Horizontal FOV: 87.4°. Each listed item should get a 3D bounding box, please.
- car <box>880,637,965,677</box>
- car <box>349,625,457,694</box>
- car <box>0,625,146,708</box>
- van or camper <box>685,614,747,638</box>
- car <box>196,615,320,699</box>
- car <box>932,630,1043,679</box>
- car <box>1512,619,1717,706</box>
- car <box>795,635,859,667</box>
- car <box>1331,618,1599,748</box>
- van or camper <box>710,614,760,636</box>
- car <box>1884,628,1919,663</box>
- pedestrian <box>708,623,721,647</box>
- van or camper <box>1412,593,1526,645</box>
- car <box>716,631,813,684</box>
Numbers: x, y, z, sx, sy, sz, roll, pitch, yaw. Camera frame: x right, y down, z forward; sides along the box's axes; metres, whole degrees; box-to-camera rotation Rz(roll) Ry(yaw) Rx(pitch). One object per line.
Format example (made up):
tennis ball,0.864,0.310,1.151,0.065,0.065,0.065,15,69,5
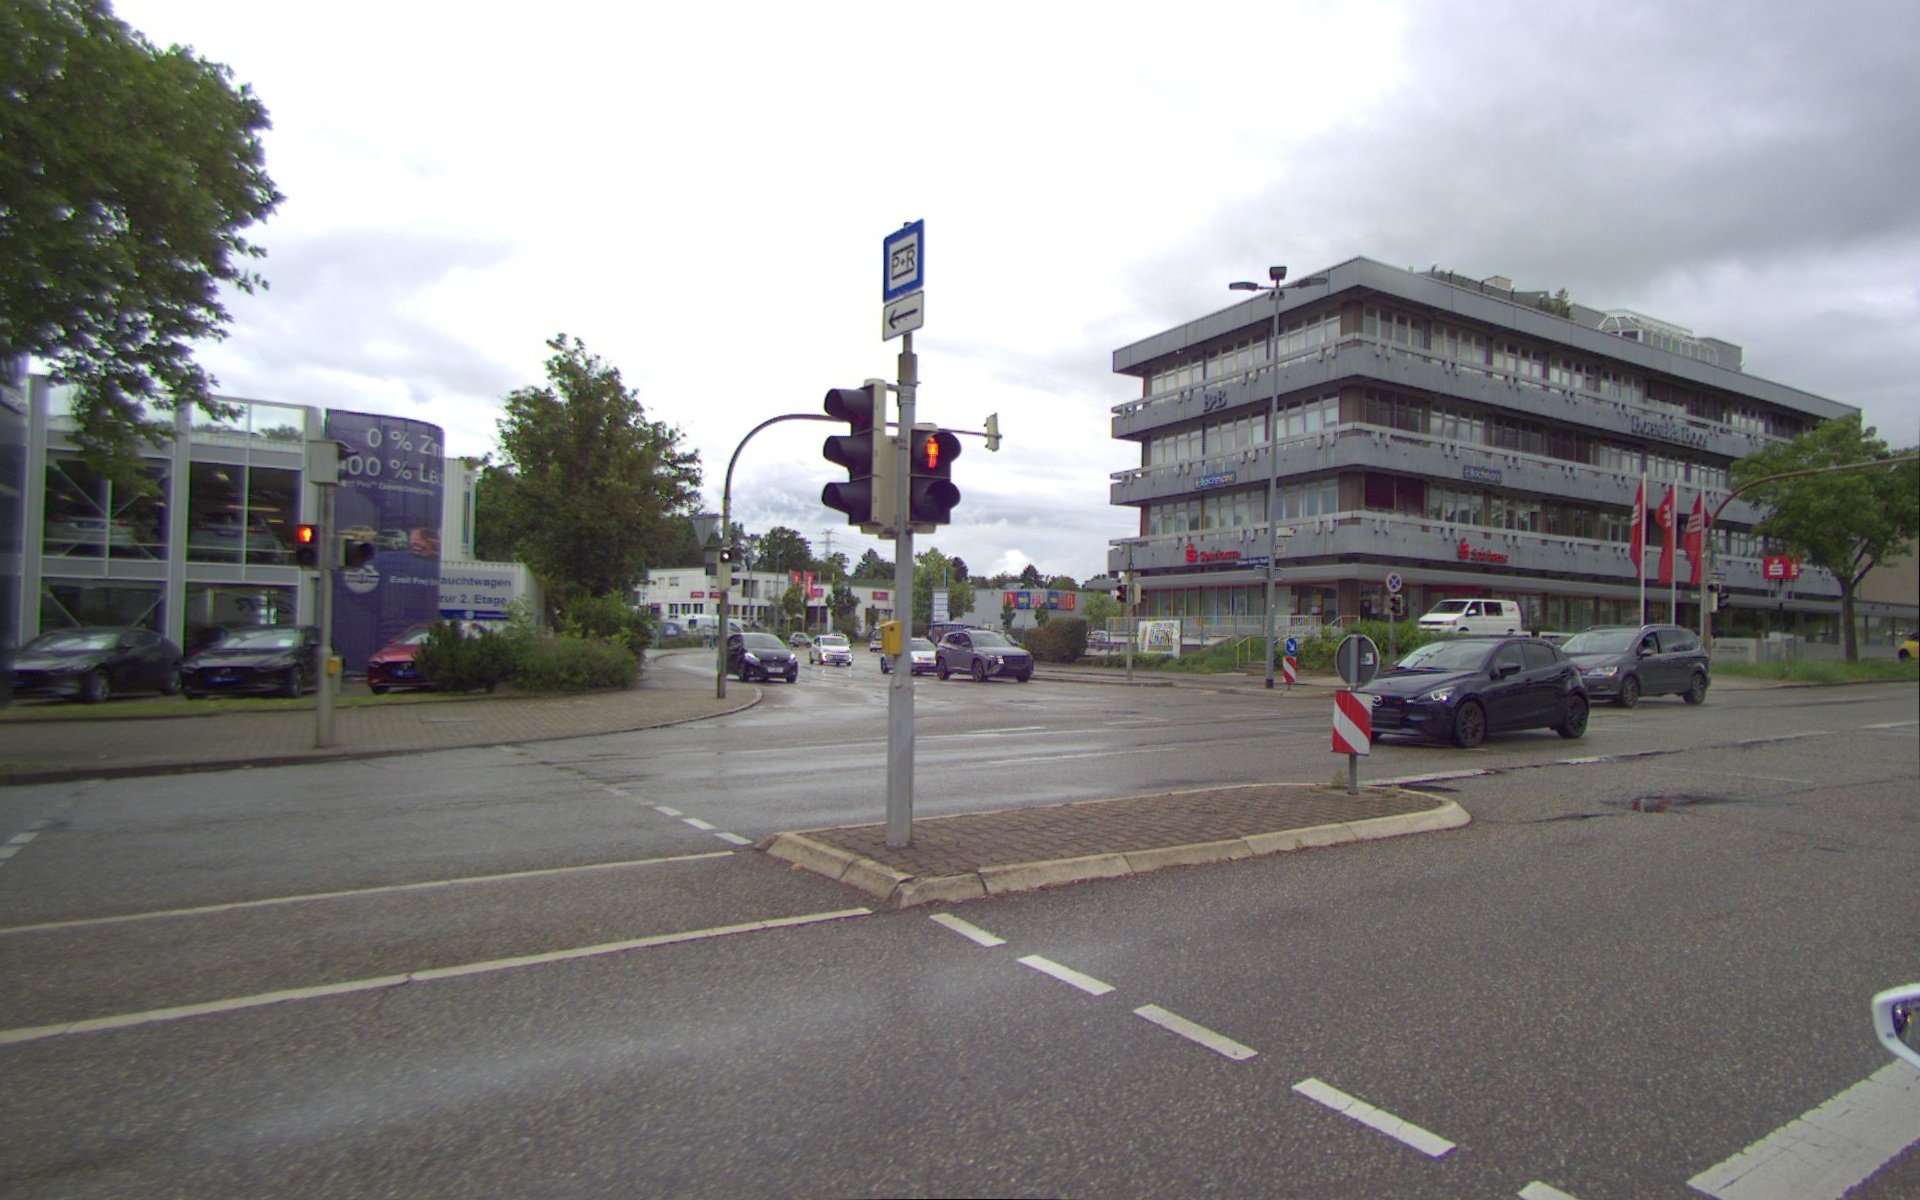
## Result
car,-1.500,2.176,39.020,1.856,1.418,3.671,1,-2,-29
car,-11.805,1.215,21.198,1.673,1.311,3.717,1,-3,-34
car,-16.843,1.193,19.173,1.673,1.409,3.717,1,-2,-34
van or camper,-21.521,2.282,88.817,5.025,2.040,1.976,2,-2,-42
car,-14.104,1.094,20.301,1.860,1.508,3.955,1,-2,-34
car,0.843,1.765,33.347,1.857,1.508,4.129,1,-2,-30
car,14.580,1.327,22.318,4.827,1.750,1.901,1,-2,-31
car,-6.831,2.557,51.372,1.857,1.508,4.129,1,-2,-30
car,7.235,1.092,14.285,3.958,1.601,1.700,2,-2,-34
van or camper,-20.920,2.338,93.436,4.213,2.040,1.800,2,-1,-43
car,44.101,2.037,45.013,1.861,1.572,4.003,0,-2,5
pedestrian,-18.360,2.613,75.151,0.849,1.802,0.532,0,-1,5
van or camper,21.341,0.808,42.089,4.733,1.993,1.984,2,0,-31
car,-6.088,1.716,30.992,1.796,1.508,3.962,1,-2,-29
